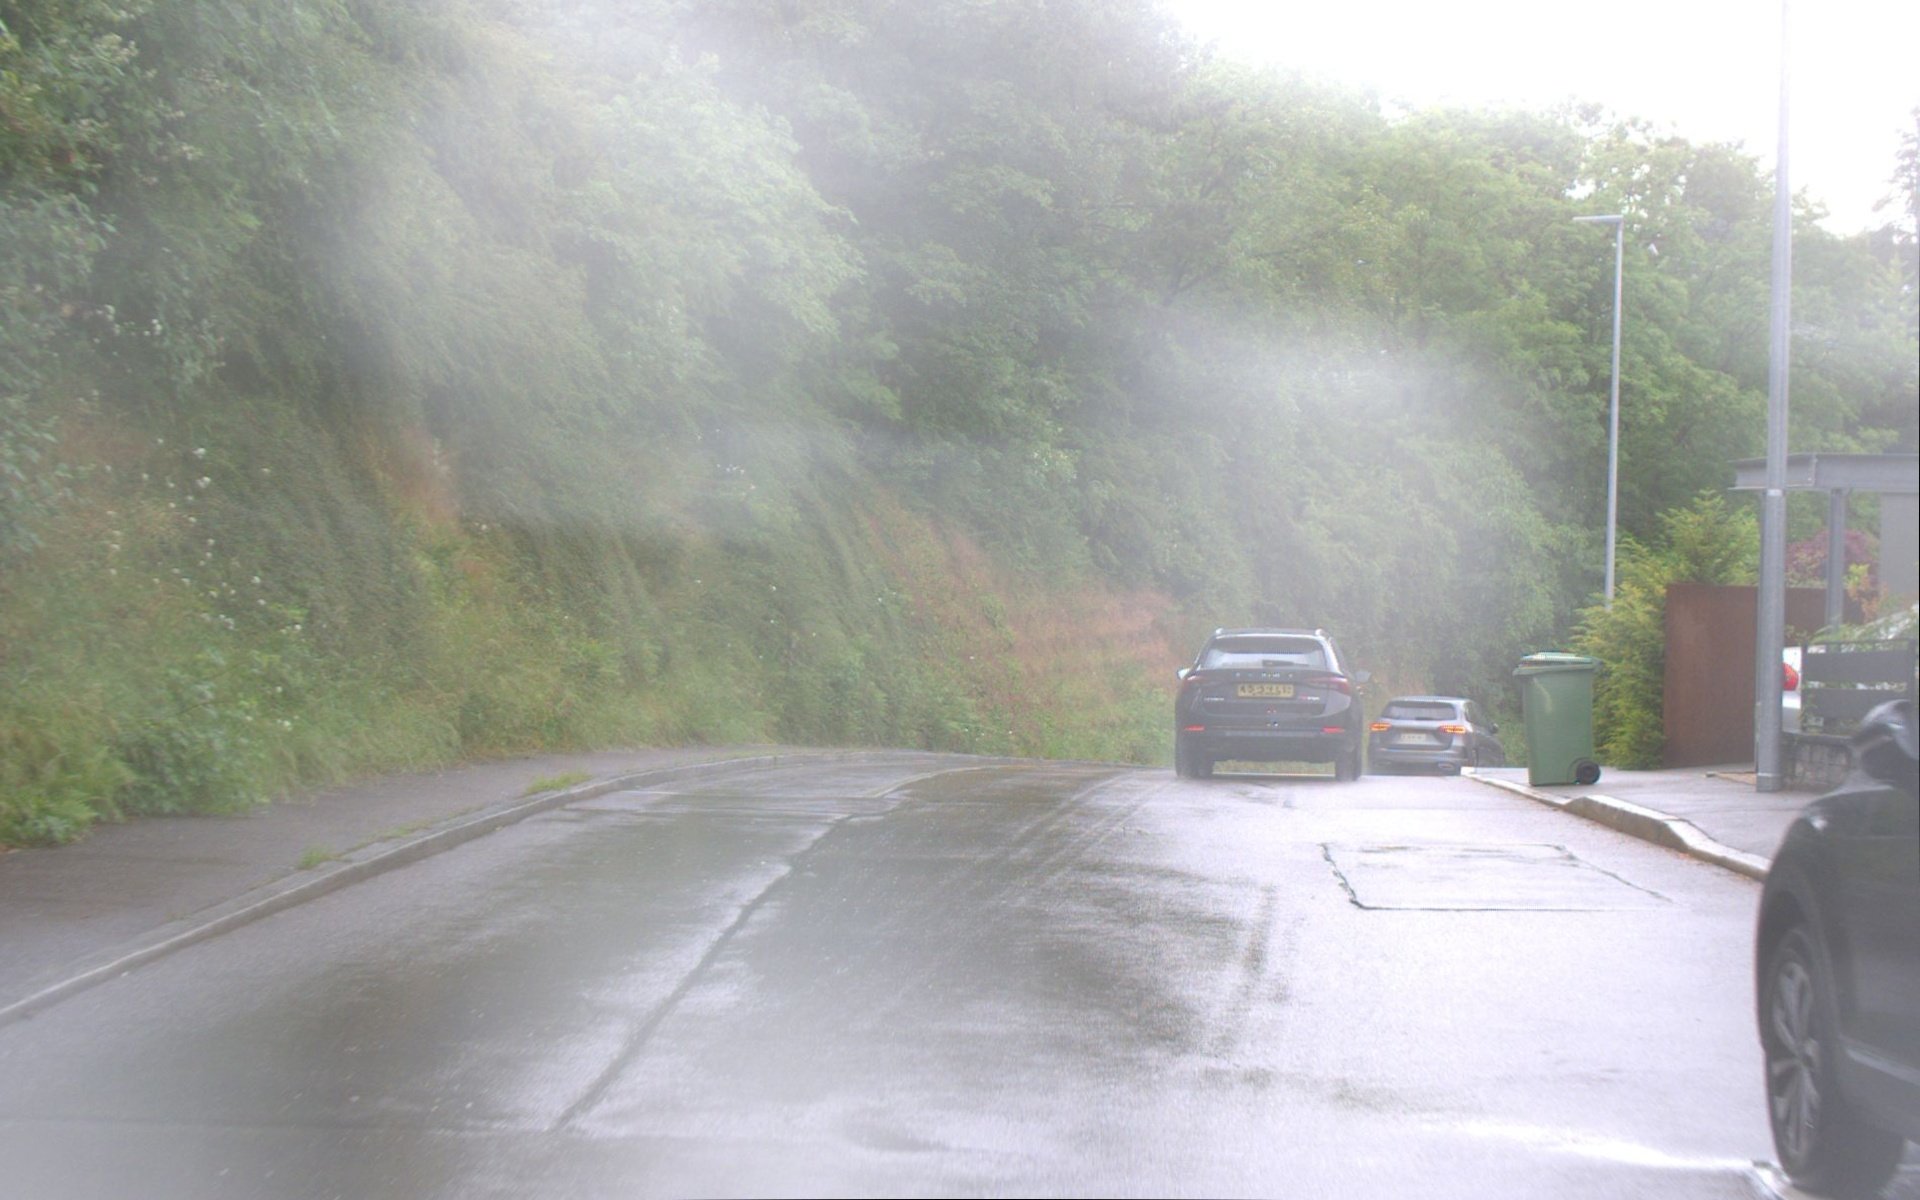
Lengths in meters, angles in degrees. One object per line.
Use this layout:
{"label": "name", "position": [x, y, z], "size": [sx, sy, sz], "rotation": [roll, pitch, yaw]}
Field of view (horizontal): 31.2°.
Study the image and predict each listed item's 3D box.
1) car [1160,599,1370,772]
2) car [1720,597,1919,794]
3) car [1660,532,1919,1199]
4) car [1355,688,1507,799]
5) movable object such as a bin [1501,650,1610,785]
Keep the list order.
{"label": "car", "position": [2.945, 0.890, 33.845], "size": [1.869, 1.507, 4.091], "rotation": [3, -3, 4]}
{"label": "car", "position": [7.995, 0.779, 26.188], "size": [4.219, 1.410, 1.940], "rotation": [2, -1, 14]}
{"label": "car", "position": [2.848, 0.666, 7.161], "size": [1.875, 1.586, 4.479], "rotation": [1, 1, 1]}
{"label": "car", "position": [8.127, 2.422, 58.995], "size": [1.995, 1.600, 4.406], "rotation": [2, 1, 15]}
{"label": "movable object such as a bin", "position": [5.009, 0.988, 28.959], "size": [0.789, 1.092, 0.675], "rotation": [-3, -2, 4]}
